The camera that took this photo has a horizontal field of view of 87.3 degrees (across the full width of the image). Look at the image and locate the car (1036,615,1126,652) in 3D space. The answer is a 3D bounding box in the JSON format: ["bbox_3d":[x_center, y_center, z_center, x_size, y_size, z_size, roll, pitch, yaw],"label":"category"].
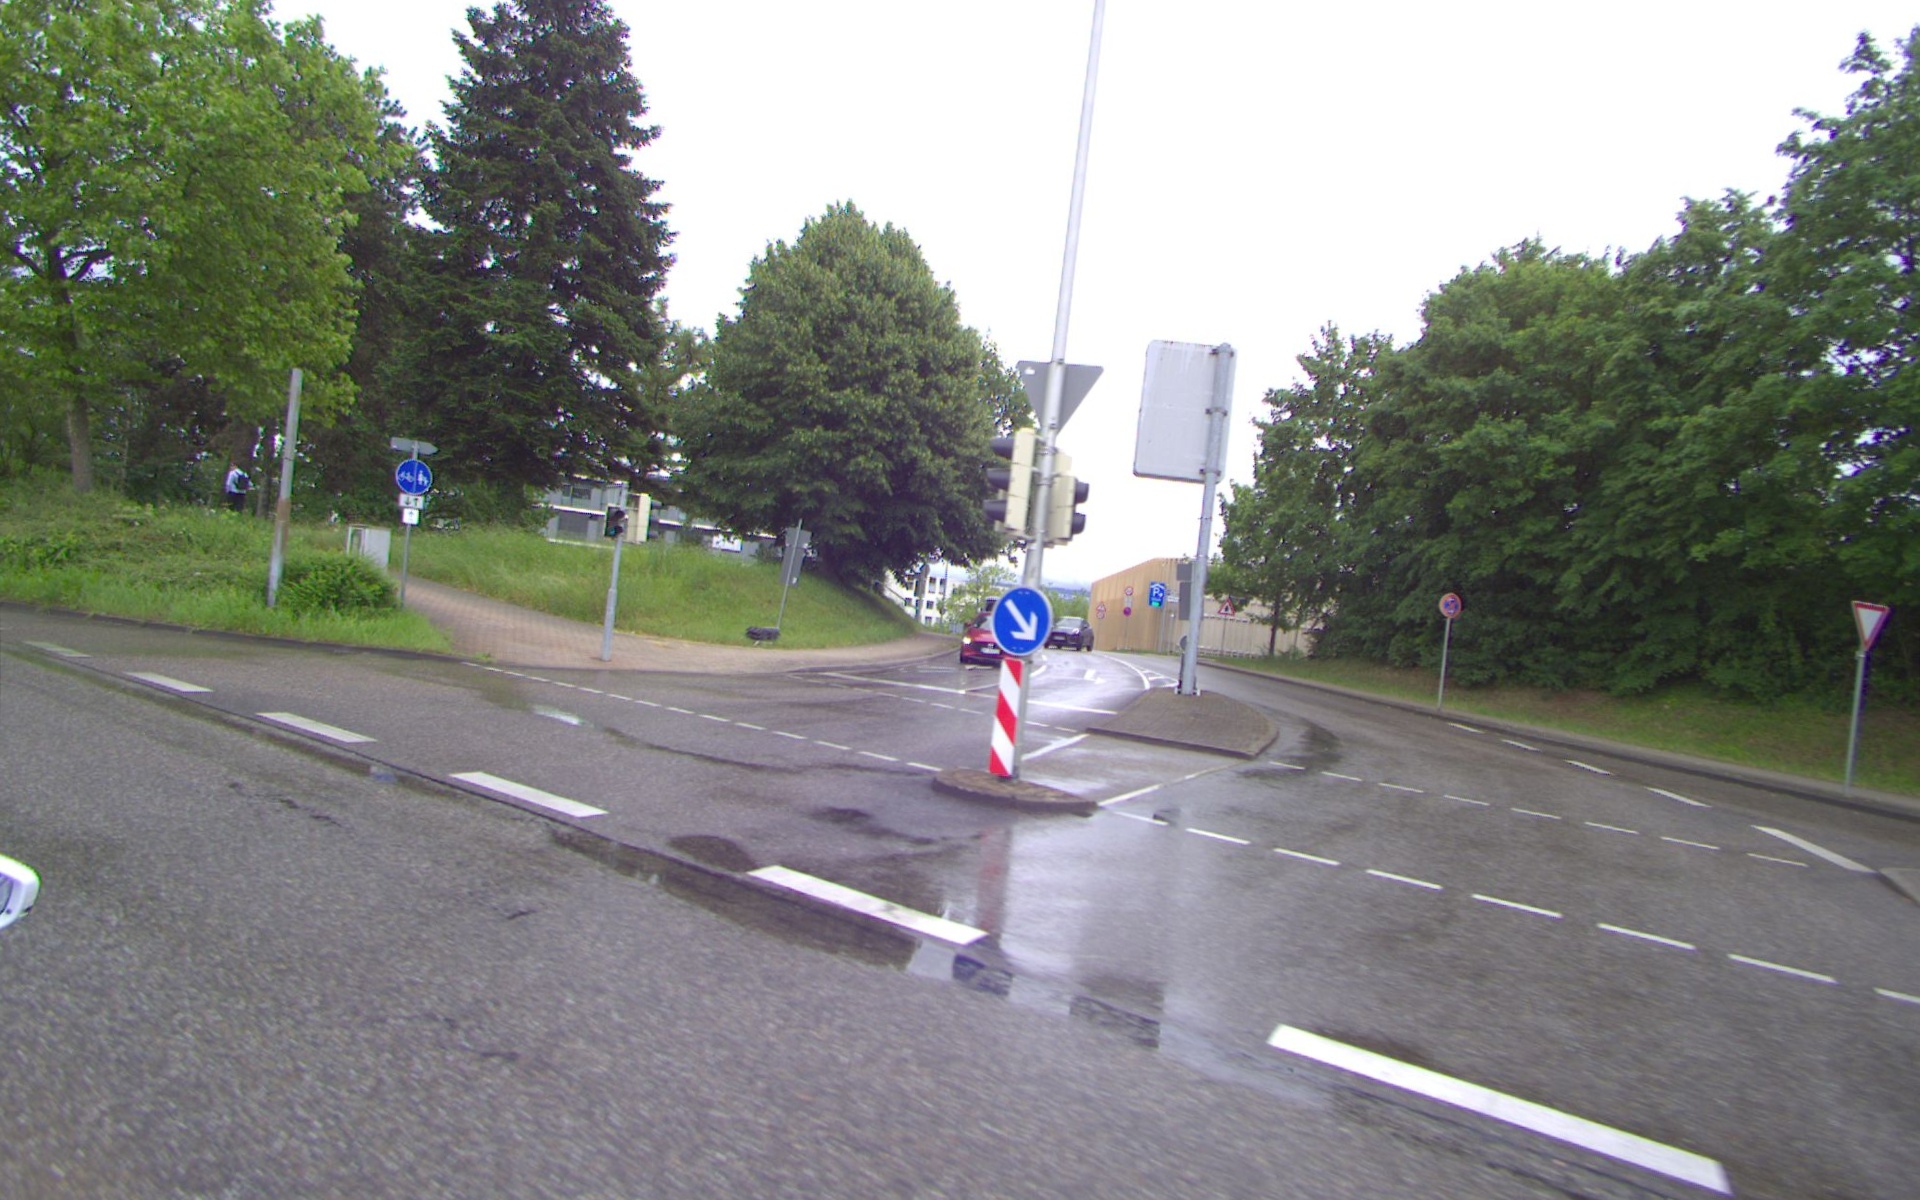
[{"bbox_3d":[5.927,1.649,49.372,3.949,1.447,1.840,5,1,-27],"label":"car"}]

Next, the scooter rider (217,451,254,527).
[{"bbox_3d":[-19.916,-3.055,27.653,0.538,1.990,0.501,8,1,31],"label":"scooter rider"}]

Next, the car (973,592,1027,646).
[{"bbox_3d":[1.522,0.708,39.784,1.818,1.883,3.998,5,1,0],"label":"car"}]

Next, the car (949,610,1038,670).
[{"bbox_3d":[1.044,1.109,29.112,1.817,1.447,4.000,5,0,11],"label":"car"}]
